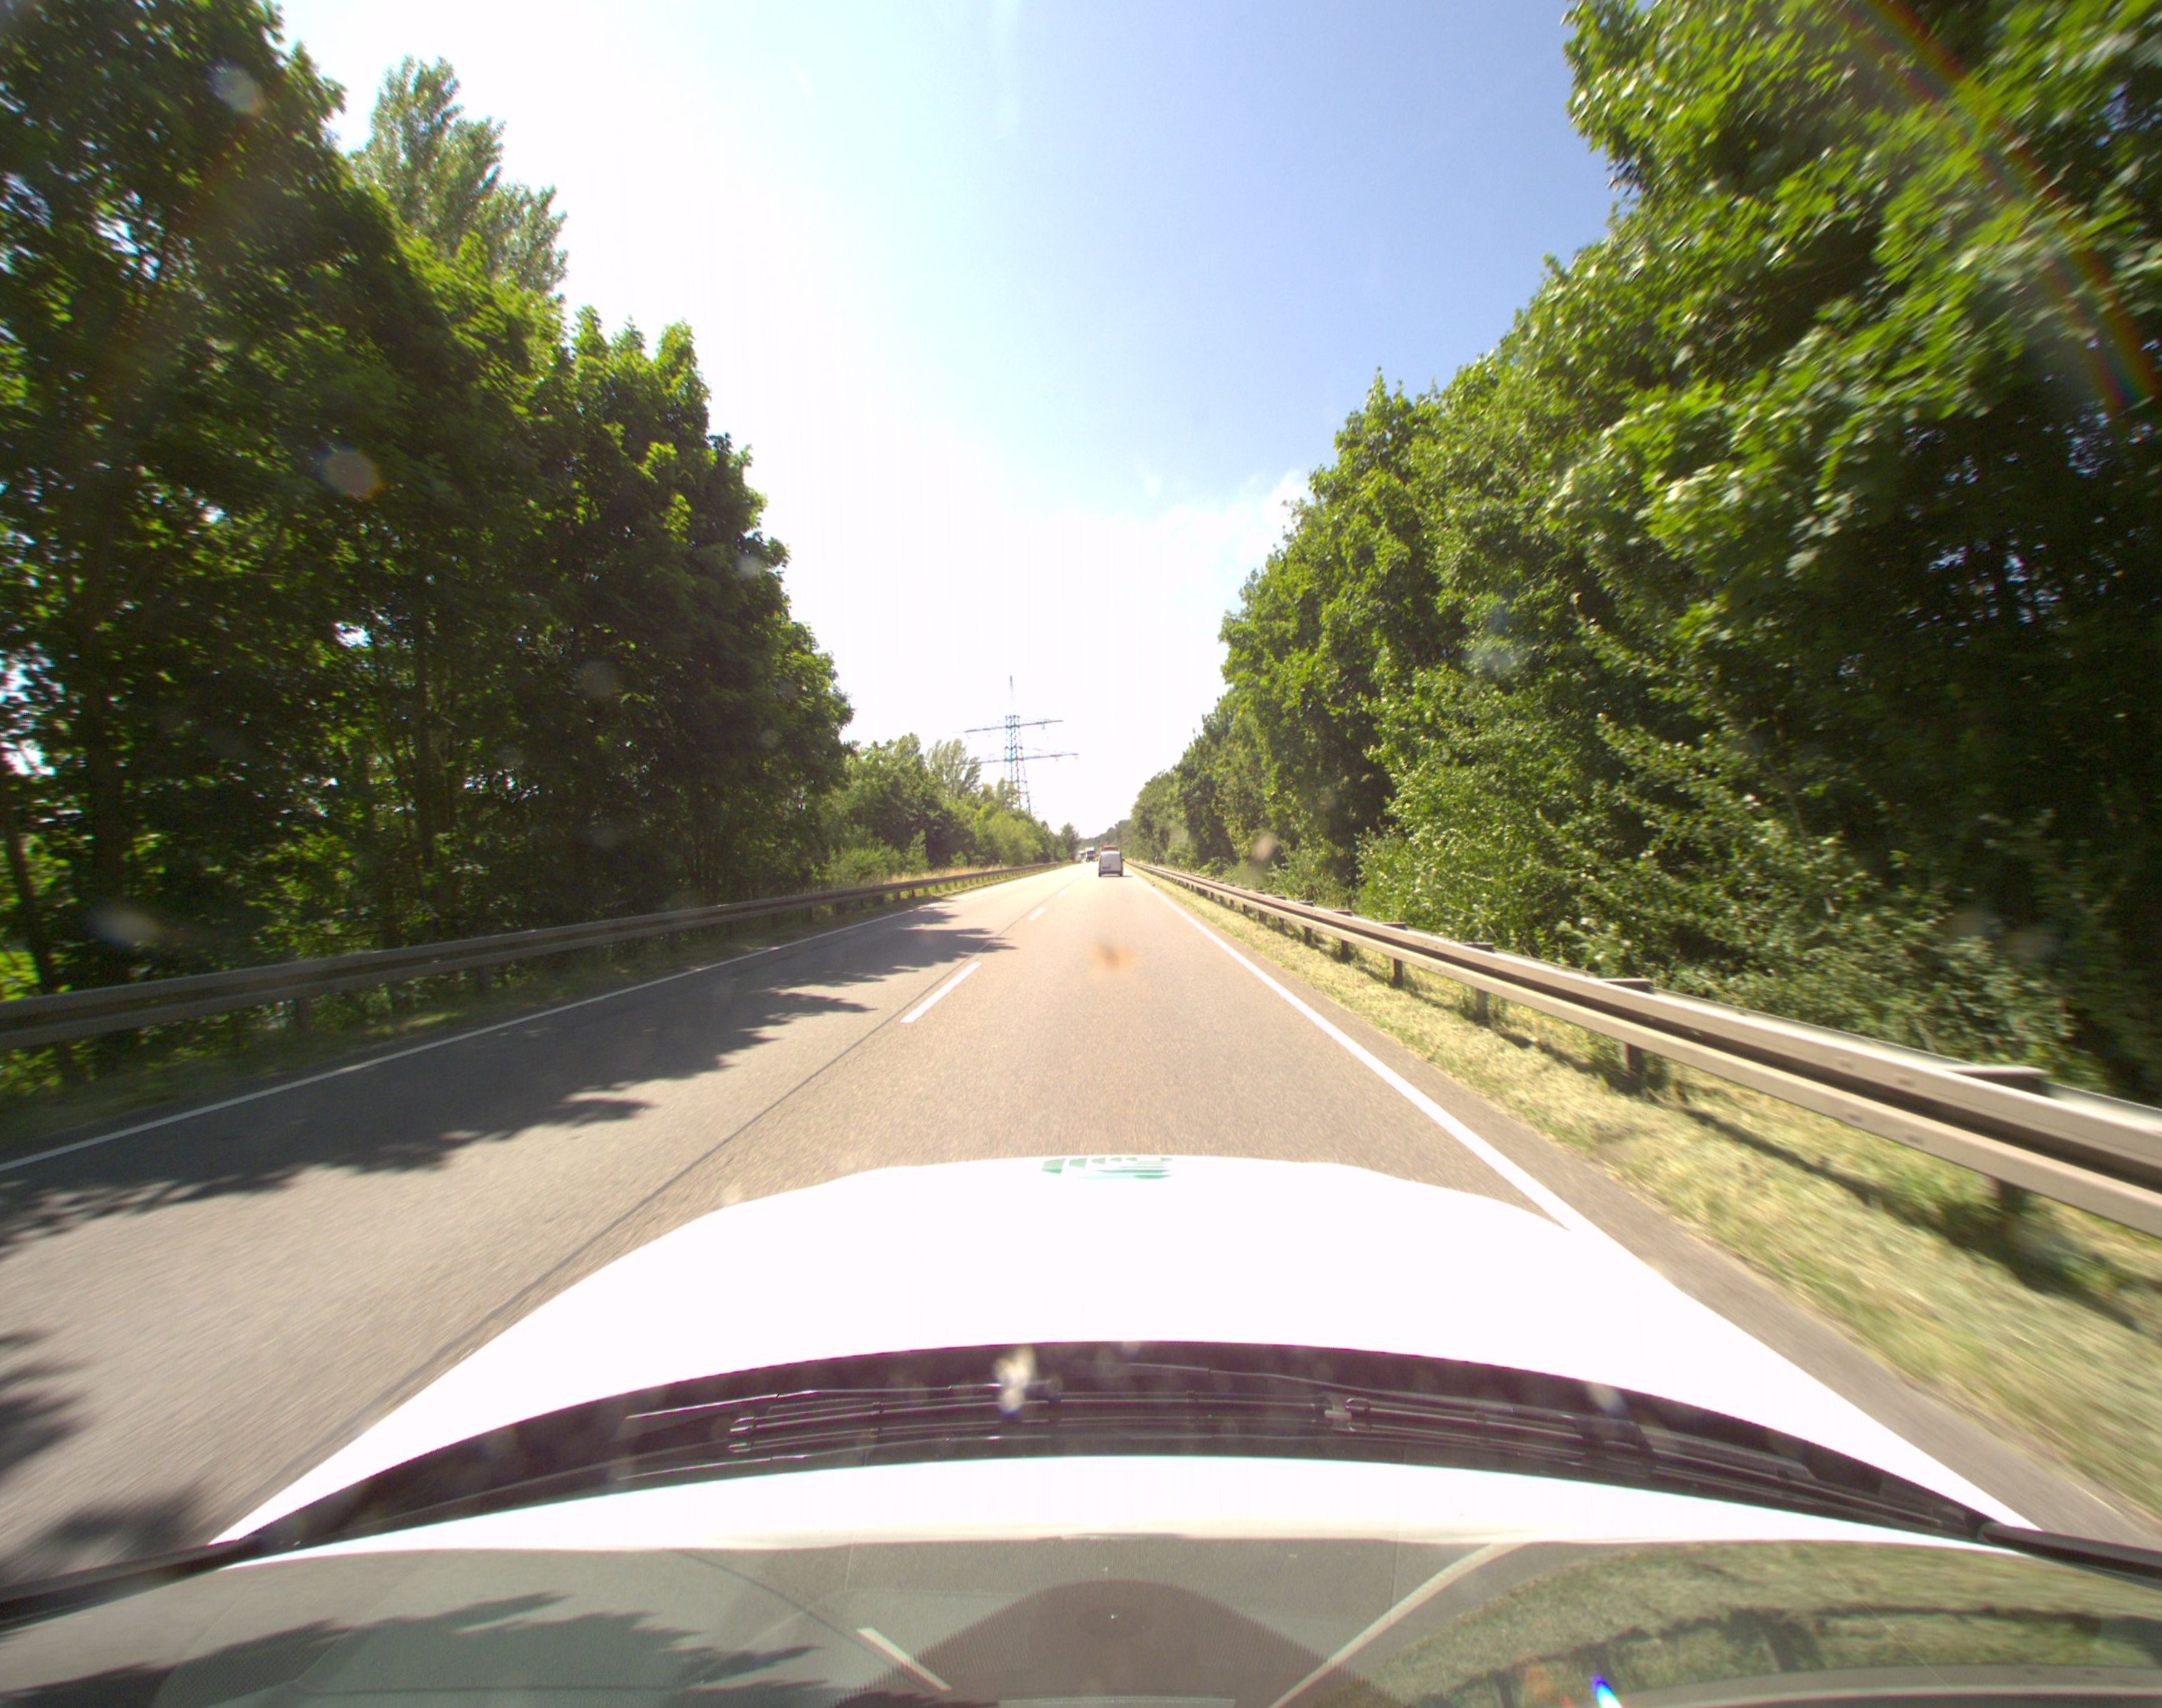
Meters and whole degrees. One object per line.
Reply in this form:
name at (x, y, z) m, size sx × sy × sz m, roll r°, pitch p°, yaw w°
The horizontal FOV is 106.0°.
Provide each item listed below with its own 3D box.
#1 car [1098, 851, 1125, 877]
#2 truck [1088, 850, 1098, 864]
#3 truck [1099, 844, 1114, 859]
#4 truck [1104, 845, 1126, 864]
car at (2.150, 0.655, 58.178) m, size 1.868 × 1.741 × 4.002 m, roll -1°, pitch 1°, yaw 2°
truck at (3.492, 0.887, 237.786) m, size 2.752 × 3.999 × 5.909 m, roll -1°, pitch 0°, yaw 2°
truck at (6.823, -0.798, 222.580) m, size 3.392 × 3.854 × 16.814 m, roll -1°, pitch 1°, yaw 0°
truck at (6.106, 0.061, 148.243) m, size 3.286 × 3.171 × 14.401 m, roll -1°, pitch 1°, yaw 0°
